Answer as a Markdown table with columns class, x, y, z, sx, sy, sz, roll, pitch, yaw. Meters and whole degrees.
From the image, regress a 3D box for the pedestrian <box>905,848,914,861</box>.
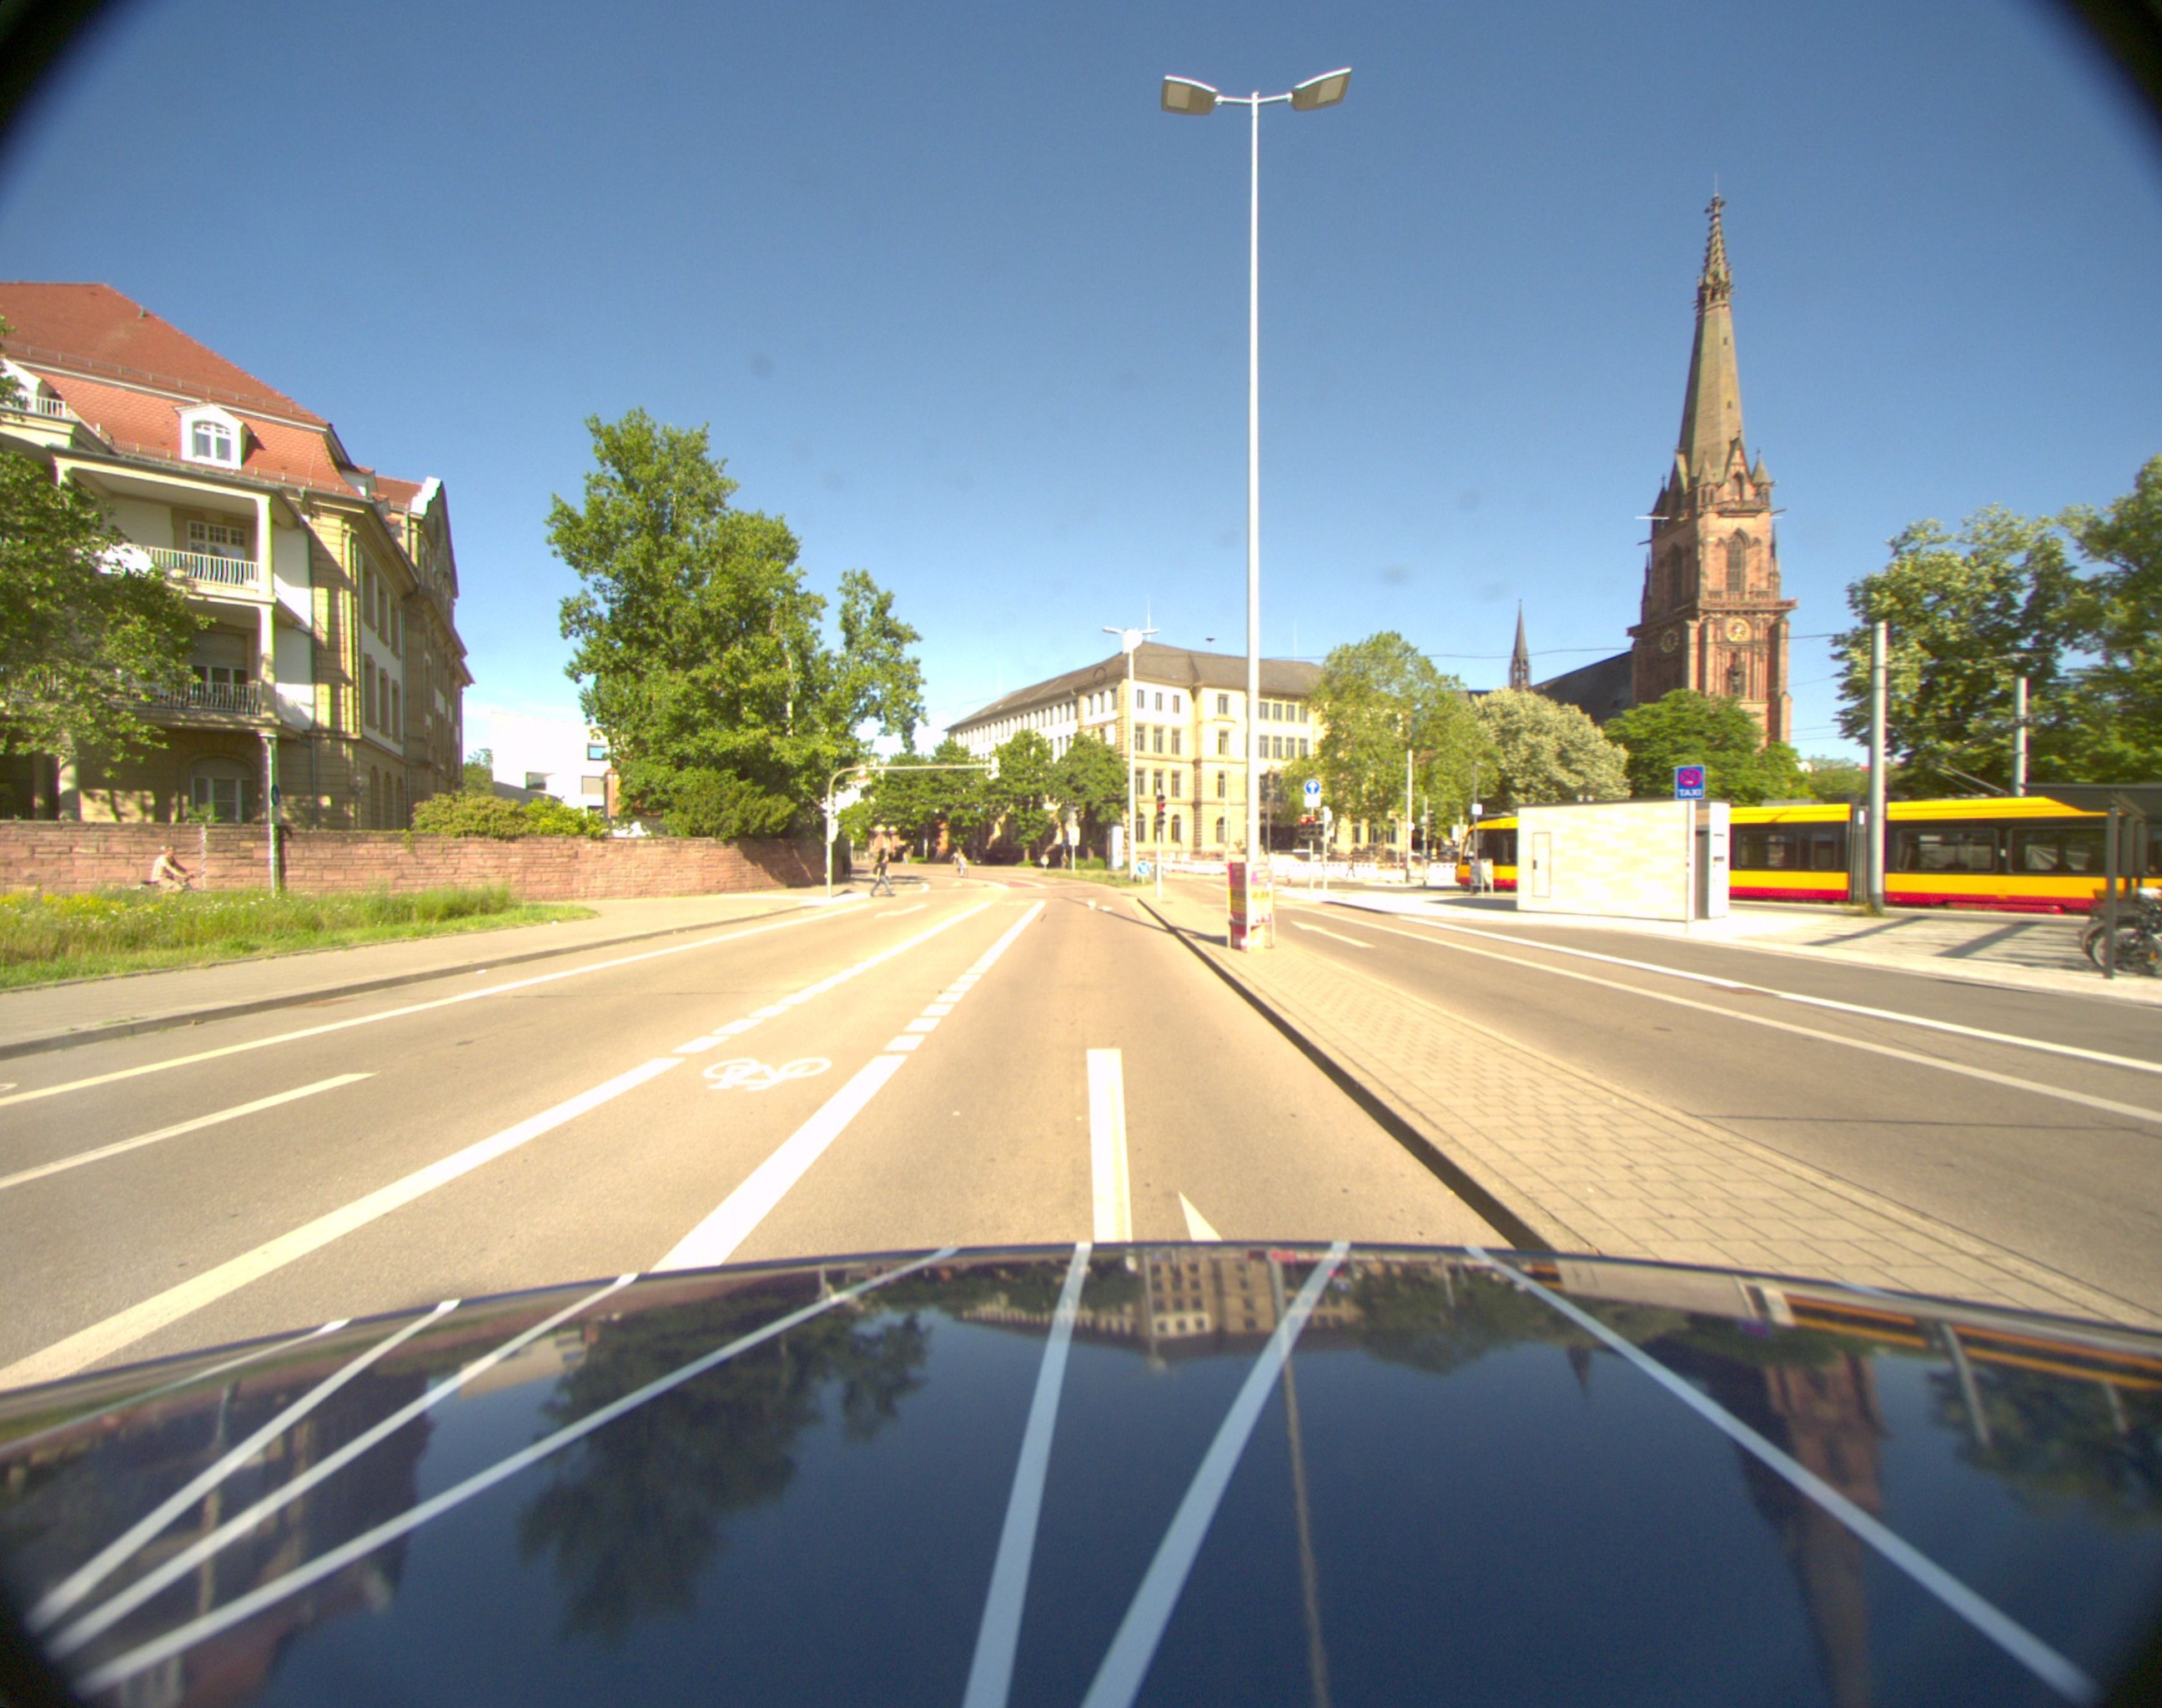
| class | x | y | z | sx | sy | sz | roll | pitch | yaw |
| --- | --- | --- | --- | --- | --- | --- | --- | --- | --- |
| pedestrian | -23.616 | 0.008 | 104.589 | 0.759 | 1.802 | 0.977 | -1 | 1 | -40 |

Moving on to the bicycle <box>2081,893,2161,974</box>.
| class | x | y | z | sx | sy | sz | roll | pitch | yaw |
| --- | --- | --- | --- | --- | --- | --- | --- | --- | --- |
| bicycle | 15.147 | 1.111 | 10.324 | 0.574 | 1.045 | 1.826 | -1 | 1 | -32 |

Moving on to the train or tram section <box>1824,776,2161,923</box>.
| class | x | y | z | sx | sy | sz | roll | pitch | yaw |
| --- | --- | --- | --- | --- | --- | --- | --- | --- | --- |
| train or tram section | 27.619 | -0.120 | 19.213 | 2.806 | 3.580 | 12.294 | -1 | 1 | -35 |

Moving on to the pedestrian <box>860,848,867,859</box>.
| class | x | y | z | sx | sy | sz | roll | pitch | yaw |
| --- | --- | --- | --- | --- | --- | --- | --- | --- | --- |
| pedestrian | -35.580 | -0.068 | 124.534 | 0.759 | 1.802 | 0.978 | -1 | 1 | -38 |

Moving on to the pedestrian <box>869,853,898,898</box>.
| class | x | y | z | sx | sy | sz | roll | pitch | yaw |
| --- | --- | --- | --- | --- | --- | --- | --- | --- | --- |
| pedestrian | -8.318 | 0.906 | 31.996 | 0.960 | 1.839 | 0.731 | 1 | 1 | 2 |

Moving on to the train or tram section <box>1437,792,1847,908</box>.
| class | x | y | z | sx | sy | sz | roll | pitch | yaw |
| --- | --- | --- | --- | --- | --- | --- | --- | --- | --- |
| train or tram section | 20.561 | -0.175 | 29.421 | 2.806 | 3.580 | 12.504 | -1 | 1 | -35 |

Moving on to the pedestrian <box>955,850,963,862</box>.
| class | x | y | z | sx | sy | sz | roll | pitch | yaw |
| --- | --- | --- | --- | --- | --- | --- | --- | --- | --- |
| pedestrian | -14.126 | 0.191 | 88.122 | 0.597 | 1.394 | 0.644 | -3 | 2 | -38 |

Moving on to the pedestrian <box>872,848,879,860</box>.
| class | x | y | z | sx | sy | sz | roll | pitch | yaw |
| --- | --- | --- | --- | --- | --- | --- | --- | --- | --- |
| pedestrian | -32.095 | 0.018 | 118.475 | 0.758 | 1.801 | 0.978 | -1 | -3 | -30 |

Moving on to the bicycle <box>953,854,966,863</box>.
| class | x | y | z | sx | sy | sz | roll | pitch | yaw |
| --- | --- | --- | --- | --- | --- | --- | --- | --- | --- |
| bicycle | -14.127 | 0.489 | 88.158 | 0.602 | 1.000 | 1.982 | -3 | 1 | -39 |

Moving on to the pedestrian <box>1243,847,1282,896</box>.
| class | x | y | z | sx | sy | sz | roll | pitch | yaw |
| --- | --- | --- | --- | --- | --- | --- | --- | --- | --- |
| pedestrian | 6.948 | 0.649 | 29.173 | 1.230 | 1.845 | 0.827 | 0 | 1 | -10 |

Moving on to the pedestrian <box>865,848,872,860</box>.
| class | x | y | z | sx | sy | sz | roll | pitch | yaw |
| --- | --- | --- | --- | --- | --- | --- | --- | --- | --- |
| pedestrian | -32.889 | 0.057 | 117.734 | 0.759 | 1.801 | 0.978 | -1 | -3 | -34 |

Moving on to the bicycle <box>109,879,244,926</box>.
| class | x | y | z | sx | sy | sz | roll | pitch | yaw |
| --- | --- | --- | --- | --- | --- | --- | --- | --- | --- |
| bicycle | -21.294 | 1.146 | 17.954 | 1.888 | 1.063 | 0.723 | 3 | -3 | -35 |

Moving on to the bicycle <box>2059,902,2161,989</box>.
| class | x | y | z | sx | sy | sz | roll | pitch | yaw |
| --- | --- | --- | --- | --- | --- | --- | --- | --- | --- |
| bicycle | 13.944 | 1.202 | 9.590 | 0.702 | 1.002 | 1.863 | -1 | 2 | -32 |

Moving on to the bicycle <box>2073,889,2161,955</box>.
| class | x | y | z | sx | sy | sz | roll | pitch | yaw |
| --- | --- | --- | --- | --- | --- | --- | --- | --- | --- |
| bicycle | 17.819 | 1.132 | 12.457 | 0.630 | 1.002 | 1.826 | -1 | 1 | -32 |

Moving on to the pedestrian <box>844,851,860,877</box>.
| class | x | y | z | sx | sy | sz | roll | pitch | yaw |
| --- | --- | --- | --- | --- | --- | --- | --- | --- | --- |
| pedestrian | -15.786 | 0.676 | 52.359 | 0.940 | 1.711 | 0.994 | 0 | 1 | -12 |

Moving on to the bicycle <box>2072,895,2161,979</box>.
| class | x | y | z | sx | sy | sz | roll | pitch | yaw |
| --- | --- | --- | --- | --- | --- | --- | --- | --- | --- |
| bicycle | 14.677 | 1.125 | 10.058 | 0.630 | 1.059 | 1.826 | -1 | 1 | -32 |

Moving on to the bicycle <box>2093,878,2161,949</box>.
| class | x | y | z | sx | sy | sz | roll | pitch | yaw |
| --- | --- | --- | --- | --- | --- | --- | --- | --- | --- |
| bicycle | 18.953 | 1.042 | 13.045 | 0.630 | 1.173 | 1.826 | -1 | 1 | -32 |

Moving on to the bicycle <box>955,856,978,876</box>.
| class | x | y | z | sx | sy | sz | roll | pitch | yaw |
| --- | --- | --- | --- | --- | --- | --- | --- | --- | --- |
| bicycle | -8.162 | 0.827 | 54.161 | 0.763 | 1.360 | 2.731 | -1 | 1 | -28 |

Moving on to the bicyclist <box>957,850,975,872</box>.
| class | x | y | z | sx | sy | sz | roll | pitch | yaw |
| --- | --- | --- | --- | --- | --- | --- | --- | --- | --- |
| bicyclist | -8.207 | 0.490 | 54.239 | 0.871 | 1.551 | 1.277 | -1 | 1 | -29 |

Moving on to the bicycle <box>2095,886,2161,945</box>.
| class | x | y | z | sx | sy | sz | roll | pitch | yaw |
| --- | --- | --- | --- | --- | --- | --- | --- | --- | --- |
| bicycle | 19.532 | 1.119 | 13.453 | 0.630 | 1.002 | 1.826 | -1 | 1 | -32 |

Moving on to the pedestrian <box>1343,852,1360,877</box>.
| class | x | y | z | sx | sy | sz | roll | pitch | yaw |
| --- | --- | --- | --- | --- | --- | --- | --- | --- | --- |
| pedestrian | 19.011 | 0.695 | 53.393 | 0.932 | 1.731 | 0.808 | 1 | 1 | 42 |

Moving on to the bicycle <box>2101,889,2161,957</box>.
| class | x | y | z | sx | sy | sz | roll | pitch | yaw |
| --- | --- | --- | --- | --- | --- | --- | --- | --- | --- |
| bicycle | 17.171 | 1.094 | 11.621 | 0.630 | 1.002 | 1.826 | -1 | 1 | -32 |

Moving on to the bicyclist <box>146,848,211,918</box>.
| class | x | y | z | sx | sy | sz | roll | pitch | yaw |
| --- | --- | --- | --- | --- | --- | --- | --- | --- | --- |
| bicyclist | -21.303 | 0.654 | 17.957 | 0.779 | 1.596 | 0.721 | -2 | 1 | -35 |

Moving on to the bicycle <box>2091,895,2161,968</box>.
| class | x | y | z | sx | sy | sz | roll | pitch | yaw |
| --- | --- | --- | --- | --- | --- | --- | --- | --- | --- |
| bicycle | 16.184 | 1.156 | 10.996 | 0.630 | 1.002 | 1.826 | -1 | 1 | -32 |
